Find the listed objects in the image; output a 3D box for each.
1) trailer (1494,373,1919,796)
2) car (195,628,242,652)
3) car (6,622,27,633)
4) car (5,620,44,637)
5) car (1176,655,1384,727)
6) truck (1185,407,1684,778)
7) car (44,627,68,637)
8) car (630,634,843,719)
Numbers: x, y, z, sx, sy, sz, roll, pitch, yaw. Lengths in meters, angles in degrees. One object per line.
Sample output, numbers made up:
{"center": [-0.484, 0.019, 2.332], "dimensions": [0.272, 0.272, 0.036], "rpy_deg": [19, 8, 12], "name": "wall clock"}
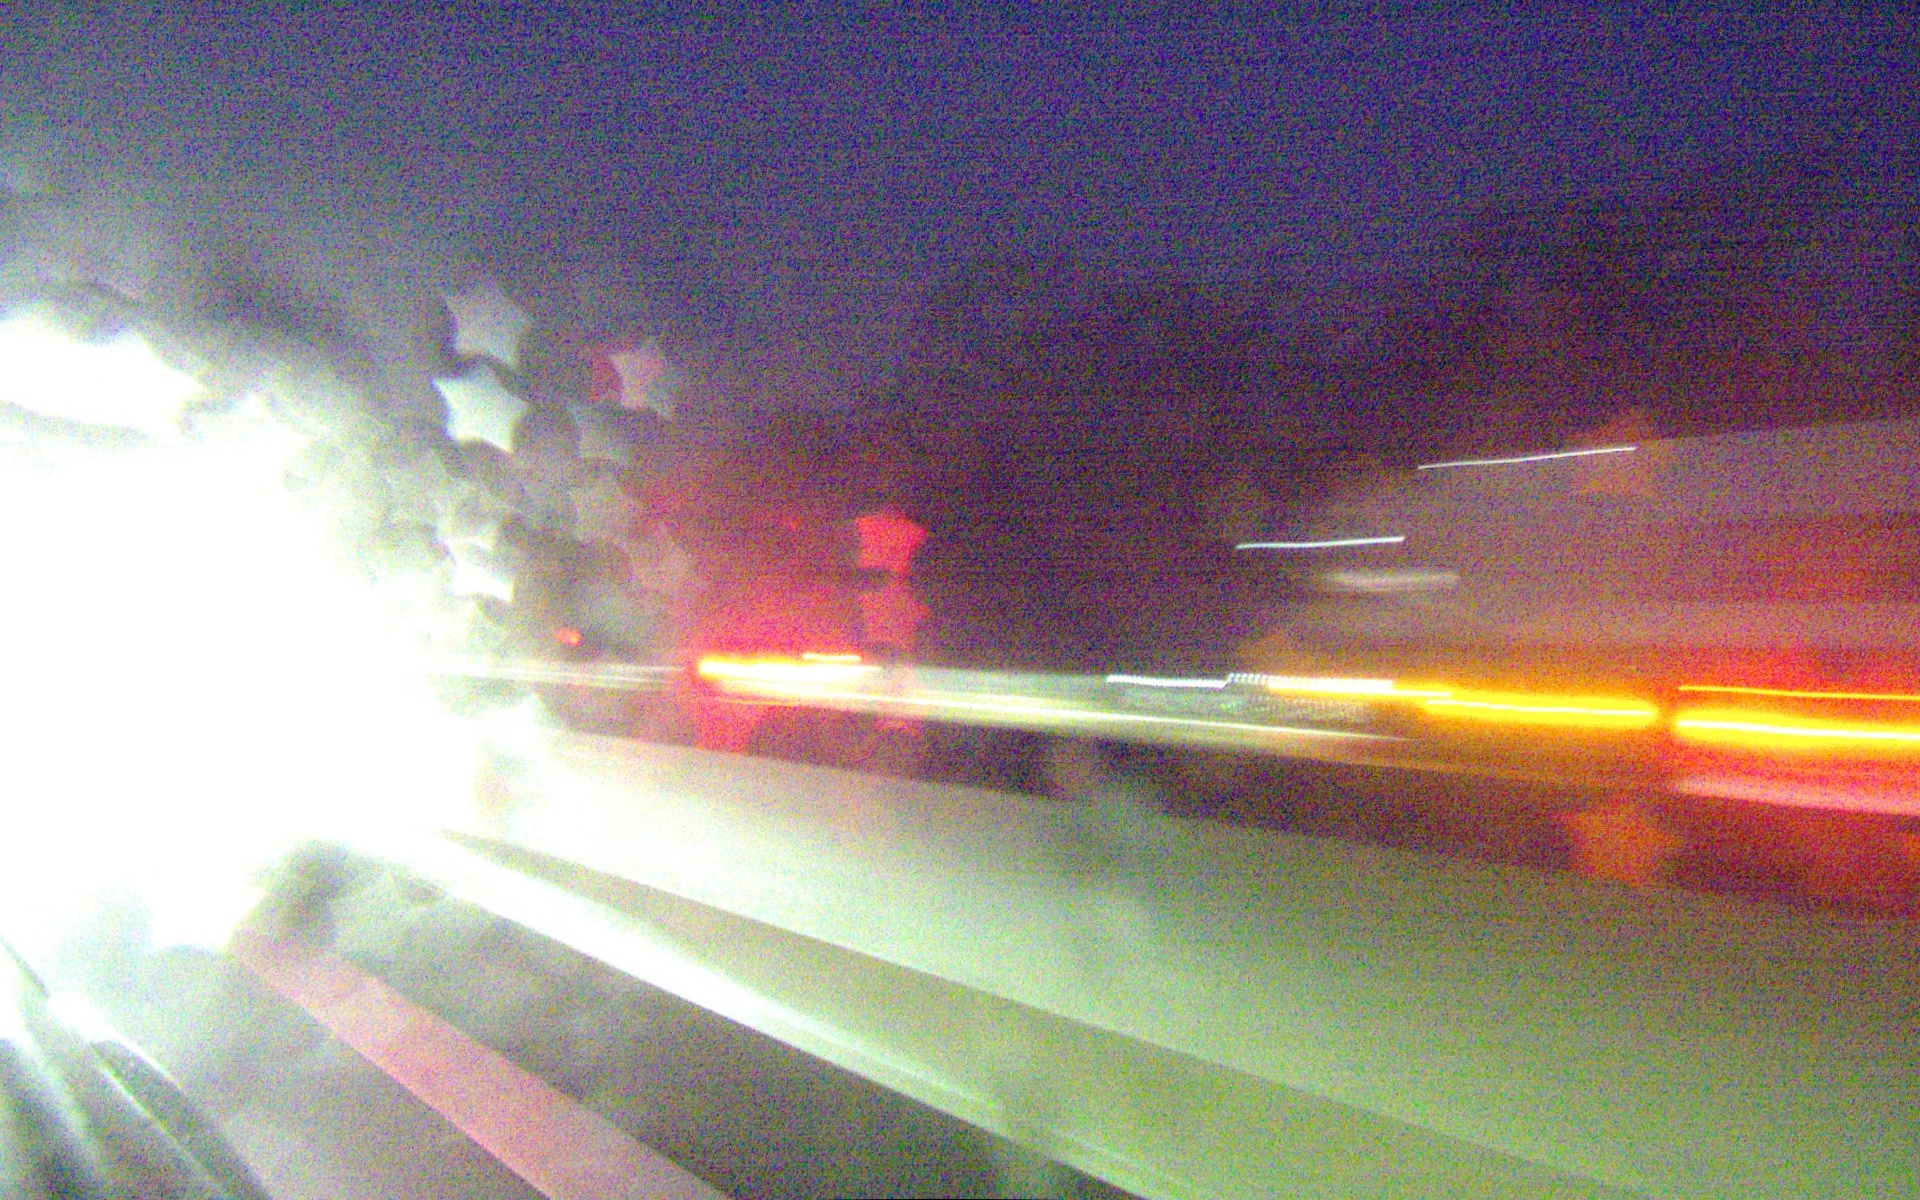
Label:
{"center": [13.234, -0.161, 9.330], "dimensions": [14.401, 4.326, 3.016], "rpy_deg": [-1, -3, 41], "name": "trailer"}
{"center": [-61.922, 3.330, 84.470], "dimensions": [5.384, 1.963, 1.973], "rpy_deg": [-1, -3, 41], "name": "car"}
{"center": [-141.634, 4.095, 151.933], "dimensions": [5.371, 1.595, 1.872], "rpy_deg": [-1, 0, 43], "name": "car"}
{"center": [-81.446, 2.510, 88.064], "dimensions": [4.587, 1.426, 1.973], "rpy_deg": [-1, -3, 41], "name": "car"}
{"center": [6.388, 1.771, 20.402], "dimensions": [3.680, 1.240, 1.593], "rpy_deg": [-1, -3, 41], "name": "car"}
{"center": [6.782, 0.008, 14.960], "dimensions": [6.080, 4.326, 3.022], "rpy_deg": [-1, -3, 41], "name": "truck"}
{"center": [-109.866, 3.818, 122.925], "dimensions": [4.043, 1.111, 1.621], "rpy_deg": [-1, 0, 40], "name": "car"}
{"center": [-4.320, 1.376, 19.268], "dimensions": [3.998, 1.431, 1.973], "rpy_deg": [-1, -3, 41], "name": "car"}
